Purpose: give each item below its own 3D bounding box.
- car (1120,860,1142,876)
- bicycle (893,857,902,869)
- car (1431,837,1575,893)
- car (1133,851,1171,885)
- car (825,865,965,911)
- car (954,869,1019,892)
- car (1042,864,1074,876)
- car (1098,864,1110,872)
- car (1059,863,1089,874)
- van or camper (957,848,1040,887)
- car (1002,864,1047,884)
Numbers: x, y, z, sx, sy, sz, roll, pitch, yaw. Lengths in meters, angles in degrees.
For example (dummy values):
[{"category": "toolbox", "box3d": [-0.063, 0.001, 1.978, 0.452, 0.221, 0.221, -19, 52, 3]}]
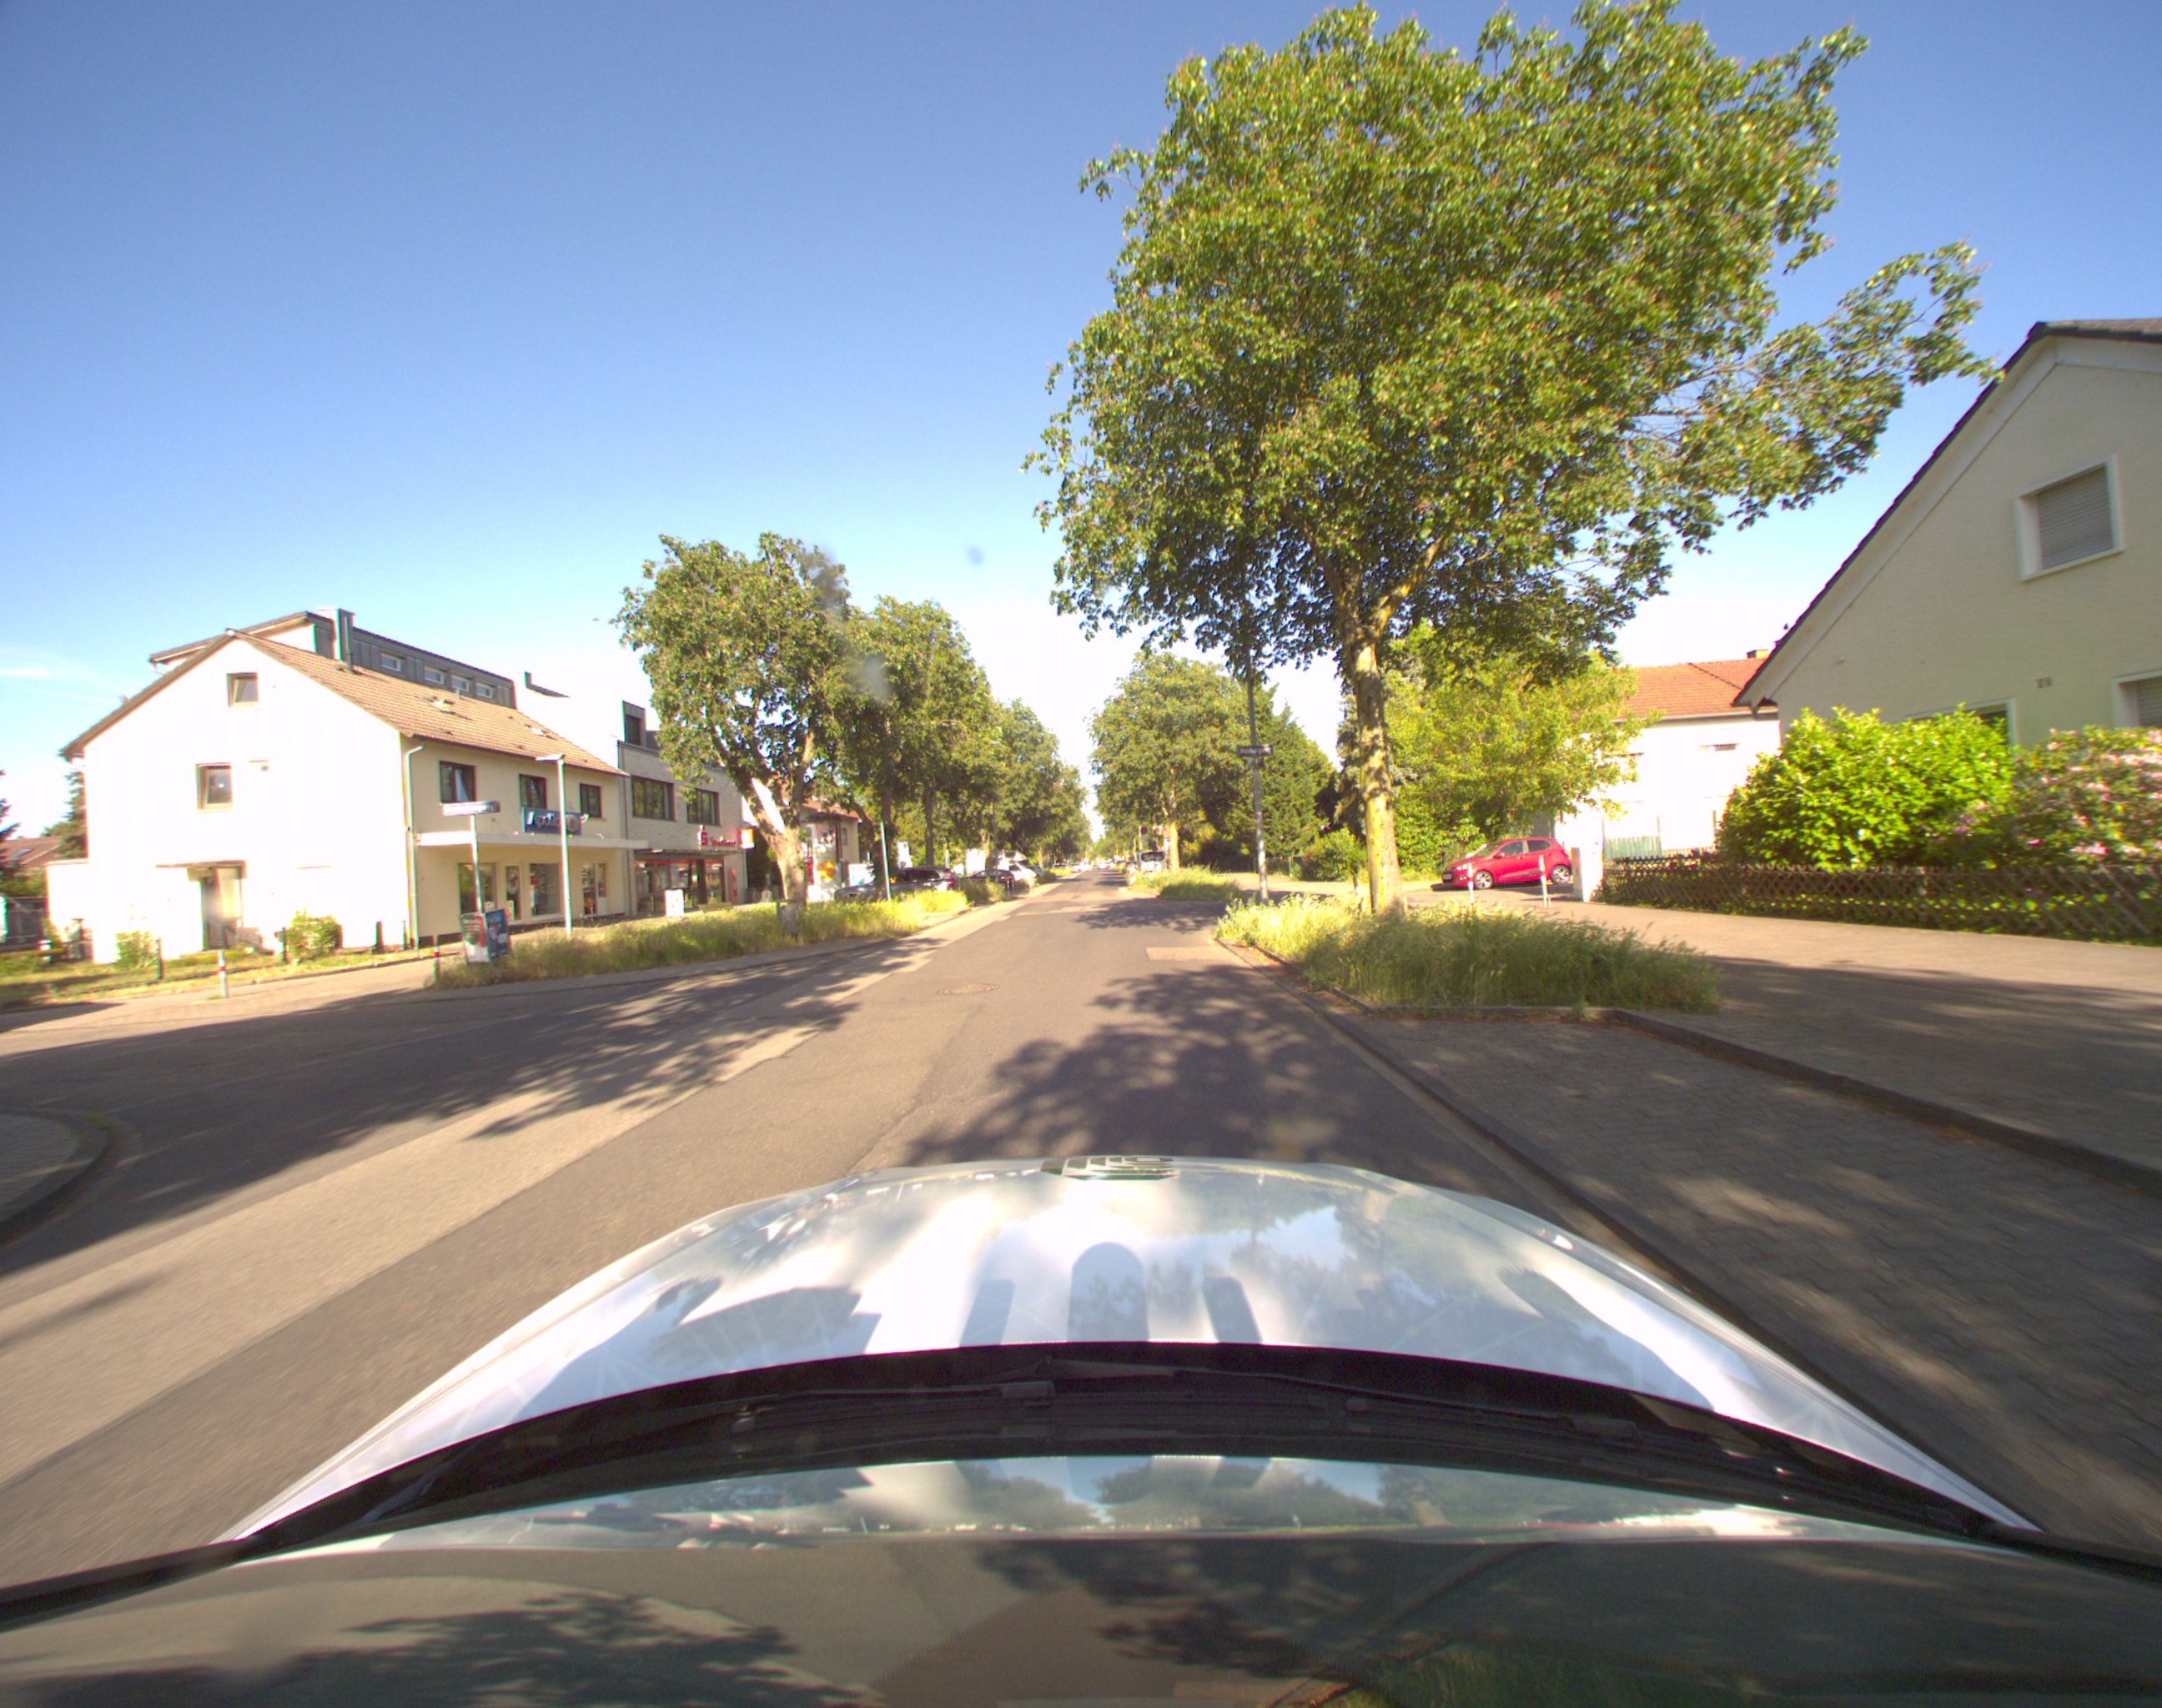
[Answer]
[{"category": "car", "box3d": [5.474, 1.546, 88.404, 1.982, 1.510, 4.009, -4, -2, 8]}, {"category": "bicycle", "box3d": [-18.434, 0.904, 81.813, 0.705, 1.176, 4.035, -3, 0, -15]}, {"category": "car", "box3d": [12.900, 0.325, 25.015, 3.532, 1.510, 1.638, -3, 0, -3]}, {"category": "car", "box3d": [4.374, 0.880, 50.925, 1.987, 2.014, 5.195, 0, -1, 0]}, {"category": "car", "box3d": [-7.220, 1.302, 32.040, 5.049, 1.728, 1.998, 0, -1, -3]}, {"category": "car", "box3d": [-6.125, 1.729, 53.121, 3.968, 1.450, 1.641, -1, -1, 4]}, {"category": "car", "box3d": [-3.418, 2.431, 122.921, 4.652, 1.503, 2.001, -3, -1, 2]}, {"category": "car", "box3d": [4.417, 2.639, 157.816, 1.990, 1.508, 3.652, 0, -1, -5]}, {"category": "car", "box3d": [-1.037, 2.182, 124.738, 4.182, 1.455, 2.007, -3, -1, 12]}, {"category": "van or camper", "box3d": [-6.023, 1.024, 59.956, 5.751, 2.805, 2.001, 0, -1, 3]}, {"category": "car", "box3d": [-5.301, 1.860, 76.670, 3.974, 1.661, 1.966, -3, -1, 0]}]
